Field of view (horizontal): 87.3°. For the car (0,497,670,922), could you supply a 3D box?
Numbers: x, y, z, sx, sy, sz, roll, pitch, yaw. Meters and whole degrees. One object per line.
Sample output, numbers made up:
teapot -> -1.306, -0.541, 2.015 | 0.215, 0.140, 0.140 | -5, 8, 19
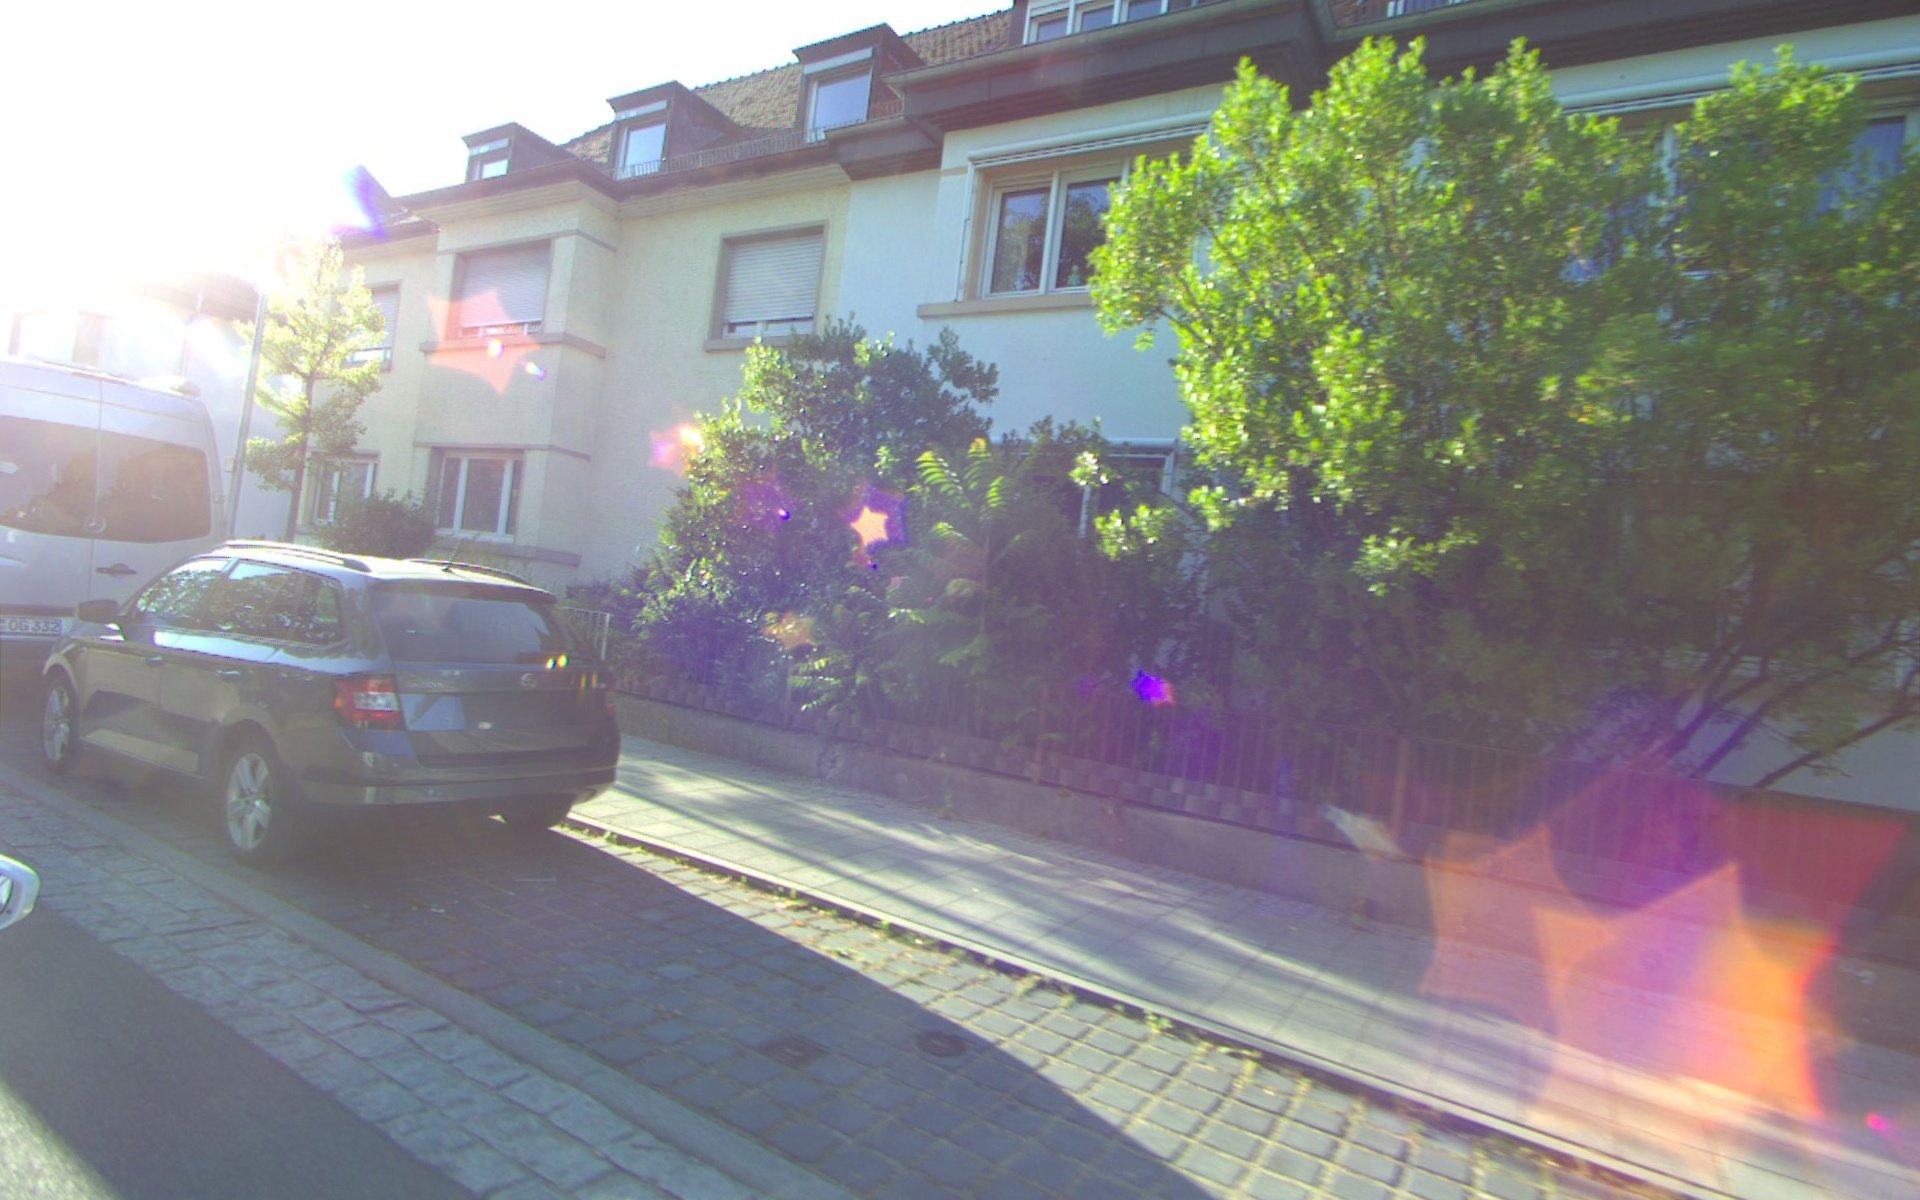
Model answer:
car -> -3.796, 0.393, 5.909 | 4.018, 1.613, 1.665 | 6, 0, 32

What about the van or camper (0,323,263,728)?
van or camper -> -8.968, -0.680, 9.099 | 5.842, 2.808, 1.948 | 5, -3, 32

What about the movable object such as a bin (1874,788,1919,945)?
movable object such as a bin -> 7.640, 2.071, 7.675 | 0.777, 1.112, 0.986 | 6, -3, 35

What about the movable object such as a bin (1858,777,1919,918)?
movable object such as a bin -> 8.506, 2.183, 8.788 | 0.777, 1.112, 1.086 | 6, -3, 35

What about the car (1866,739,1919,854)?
car -> 15.035, 2.980, 14.891 | 1.845, 1.525, 4.149 | 6, -2, 36
